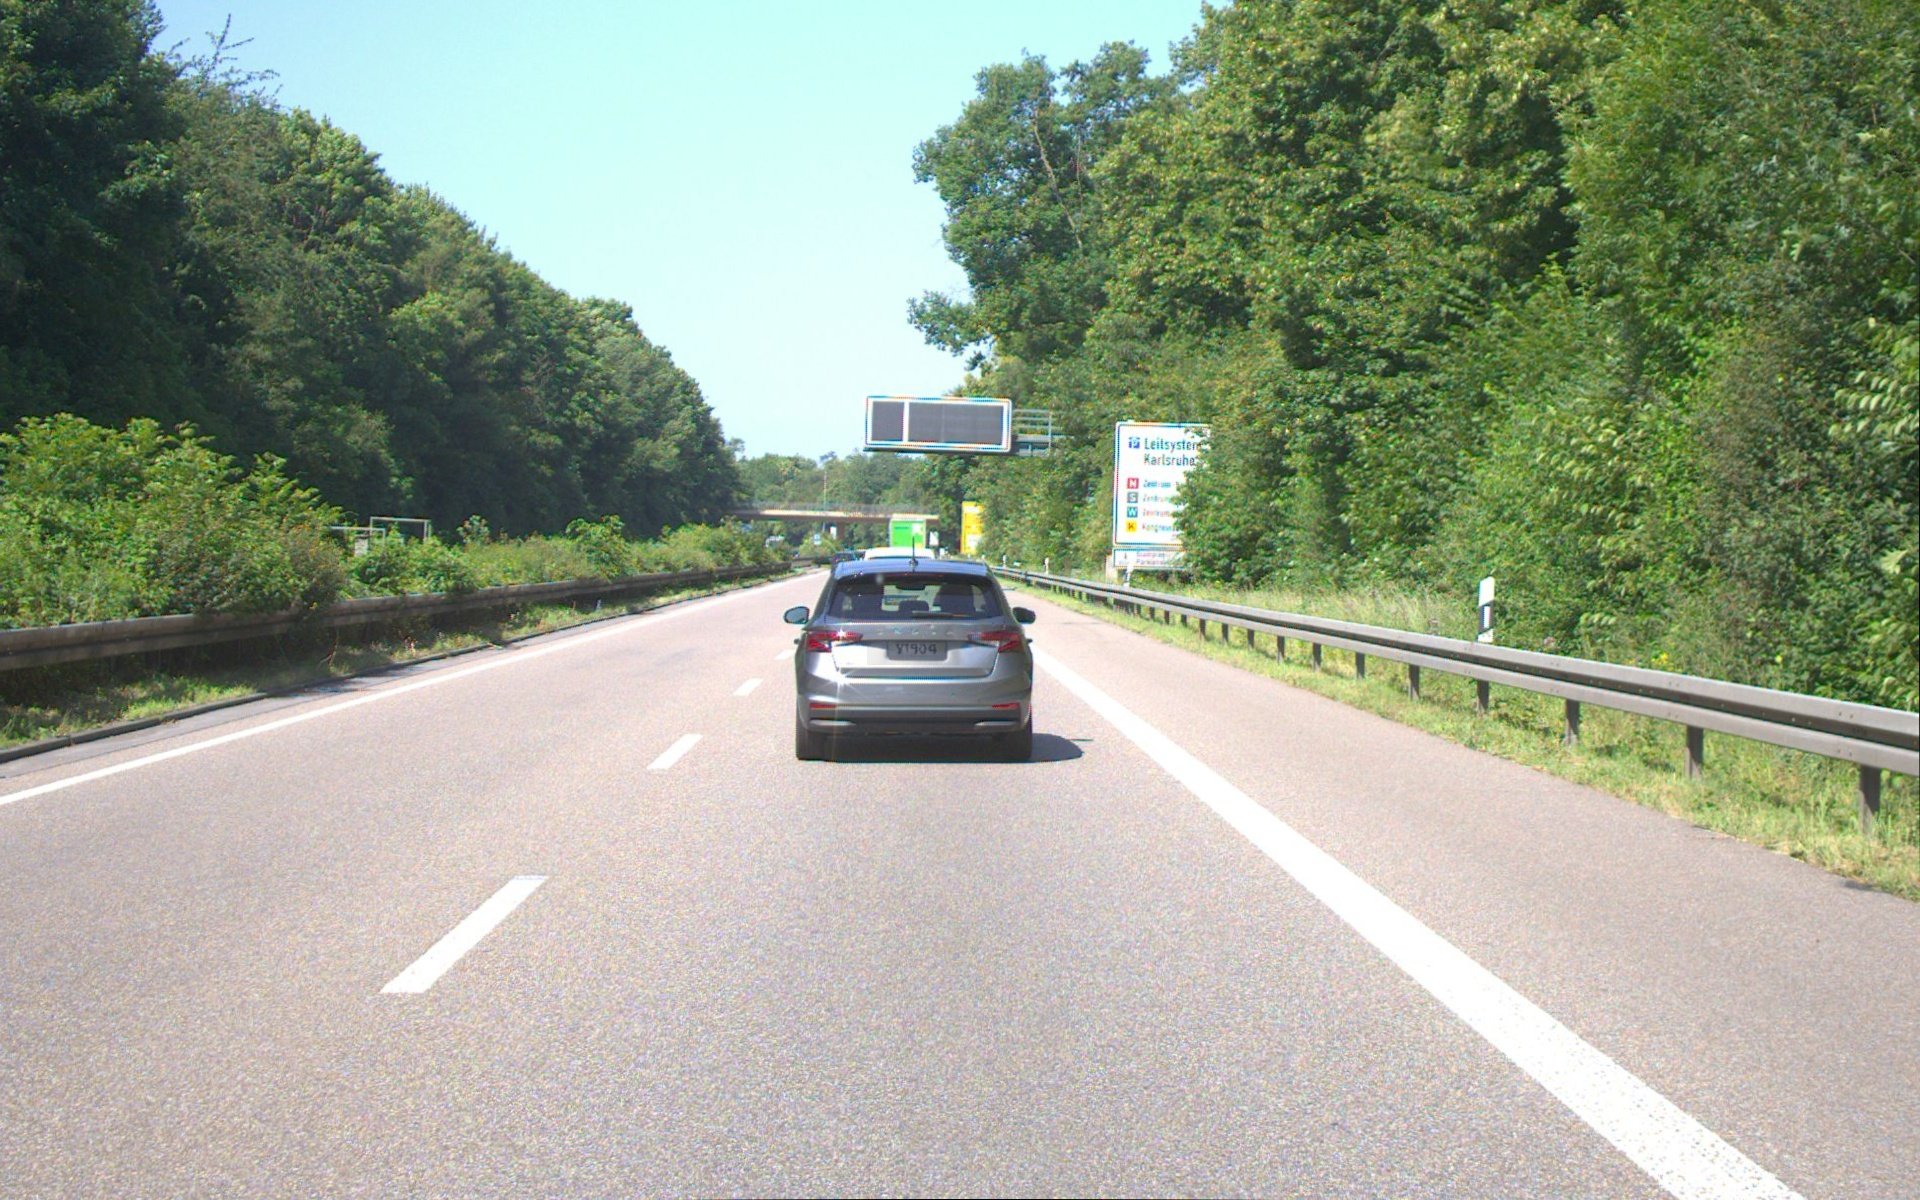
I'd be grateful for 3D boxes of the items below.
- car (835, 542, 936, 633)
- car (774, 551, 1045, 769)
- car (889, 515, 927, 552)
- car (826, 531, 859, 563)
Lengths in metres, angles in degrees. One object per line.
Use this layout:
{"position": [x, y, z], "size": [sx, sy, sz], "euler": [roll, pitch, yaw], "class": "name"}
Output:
{"position": [-1.200, -0.226, 56.645], "size": [1.522, 1.442, 3.340], "euler": [1, 1, 1], "class": "car"}
{"position": [-0.318, 0.386, 25.459], "size": [1.840, 1.467, 3.623], "euler": [1, 1, 1], "class": "car"}
{"position": [-3.805, -4.847, 251.205], "size": [2.748, 2.645, 4.000], "euler": [1, 0, -1], "class": "car"}
{"position": [-7.527, -3.388, 221.324], "size": [1.993, 2.007, 4.000], "euler": [1, 0, -1], "class": "car"}
